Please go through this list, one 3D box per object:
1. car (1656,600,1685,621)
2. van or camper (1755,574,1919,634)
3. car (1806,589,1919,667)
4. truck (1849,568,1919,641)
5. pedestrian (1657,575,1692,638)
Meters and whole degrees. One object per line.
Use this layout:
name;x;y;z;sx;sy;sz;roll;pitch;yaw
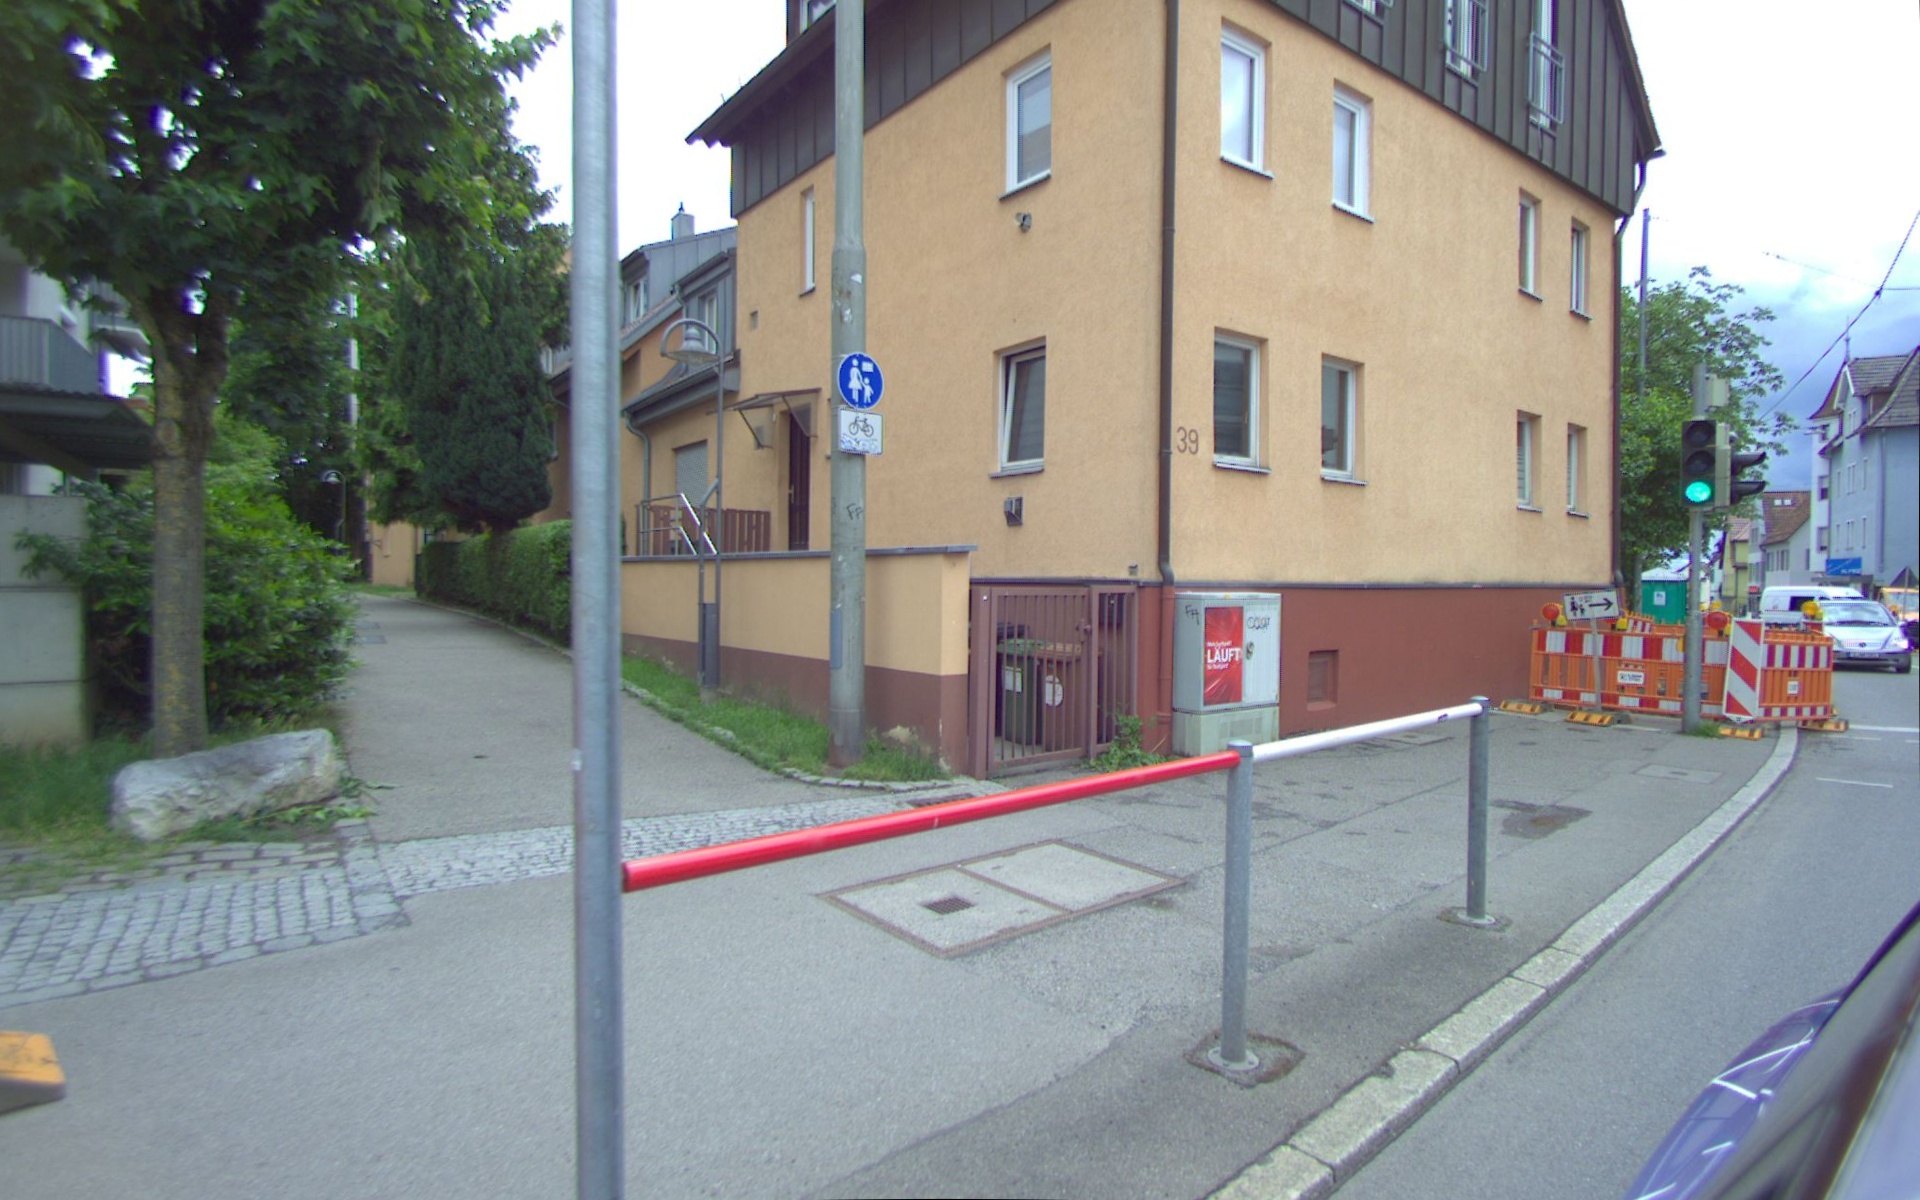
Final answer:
car;57.231;0.849;81.515;1.810;1.539;2.900;2;1;36
van or camper;42.572;0.147;49.201;2.279;2.640;6.217;2;1;-8
car;20.822;0.605;23.164;1.848;1.576;4.295;2;1;36
truck;34.826;0.210;36.926;2.402;2.497;6.238;2;1;31
pedestrian;23.300;0.205;33.016;0.794;1.974;0.828;2;0;29
